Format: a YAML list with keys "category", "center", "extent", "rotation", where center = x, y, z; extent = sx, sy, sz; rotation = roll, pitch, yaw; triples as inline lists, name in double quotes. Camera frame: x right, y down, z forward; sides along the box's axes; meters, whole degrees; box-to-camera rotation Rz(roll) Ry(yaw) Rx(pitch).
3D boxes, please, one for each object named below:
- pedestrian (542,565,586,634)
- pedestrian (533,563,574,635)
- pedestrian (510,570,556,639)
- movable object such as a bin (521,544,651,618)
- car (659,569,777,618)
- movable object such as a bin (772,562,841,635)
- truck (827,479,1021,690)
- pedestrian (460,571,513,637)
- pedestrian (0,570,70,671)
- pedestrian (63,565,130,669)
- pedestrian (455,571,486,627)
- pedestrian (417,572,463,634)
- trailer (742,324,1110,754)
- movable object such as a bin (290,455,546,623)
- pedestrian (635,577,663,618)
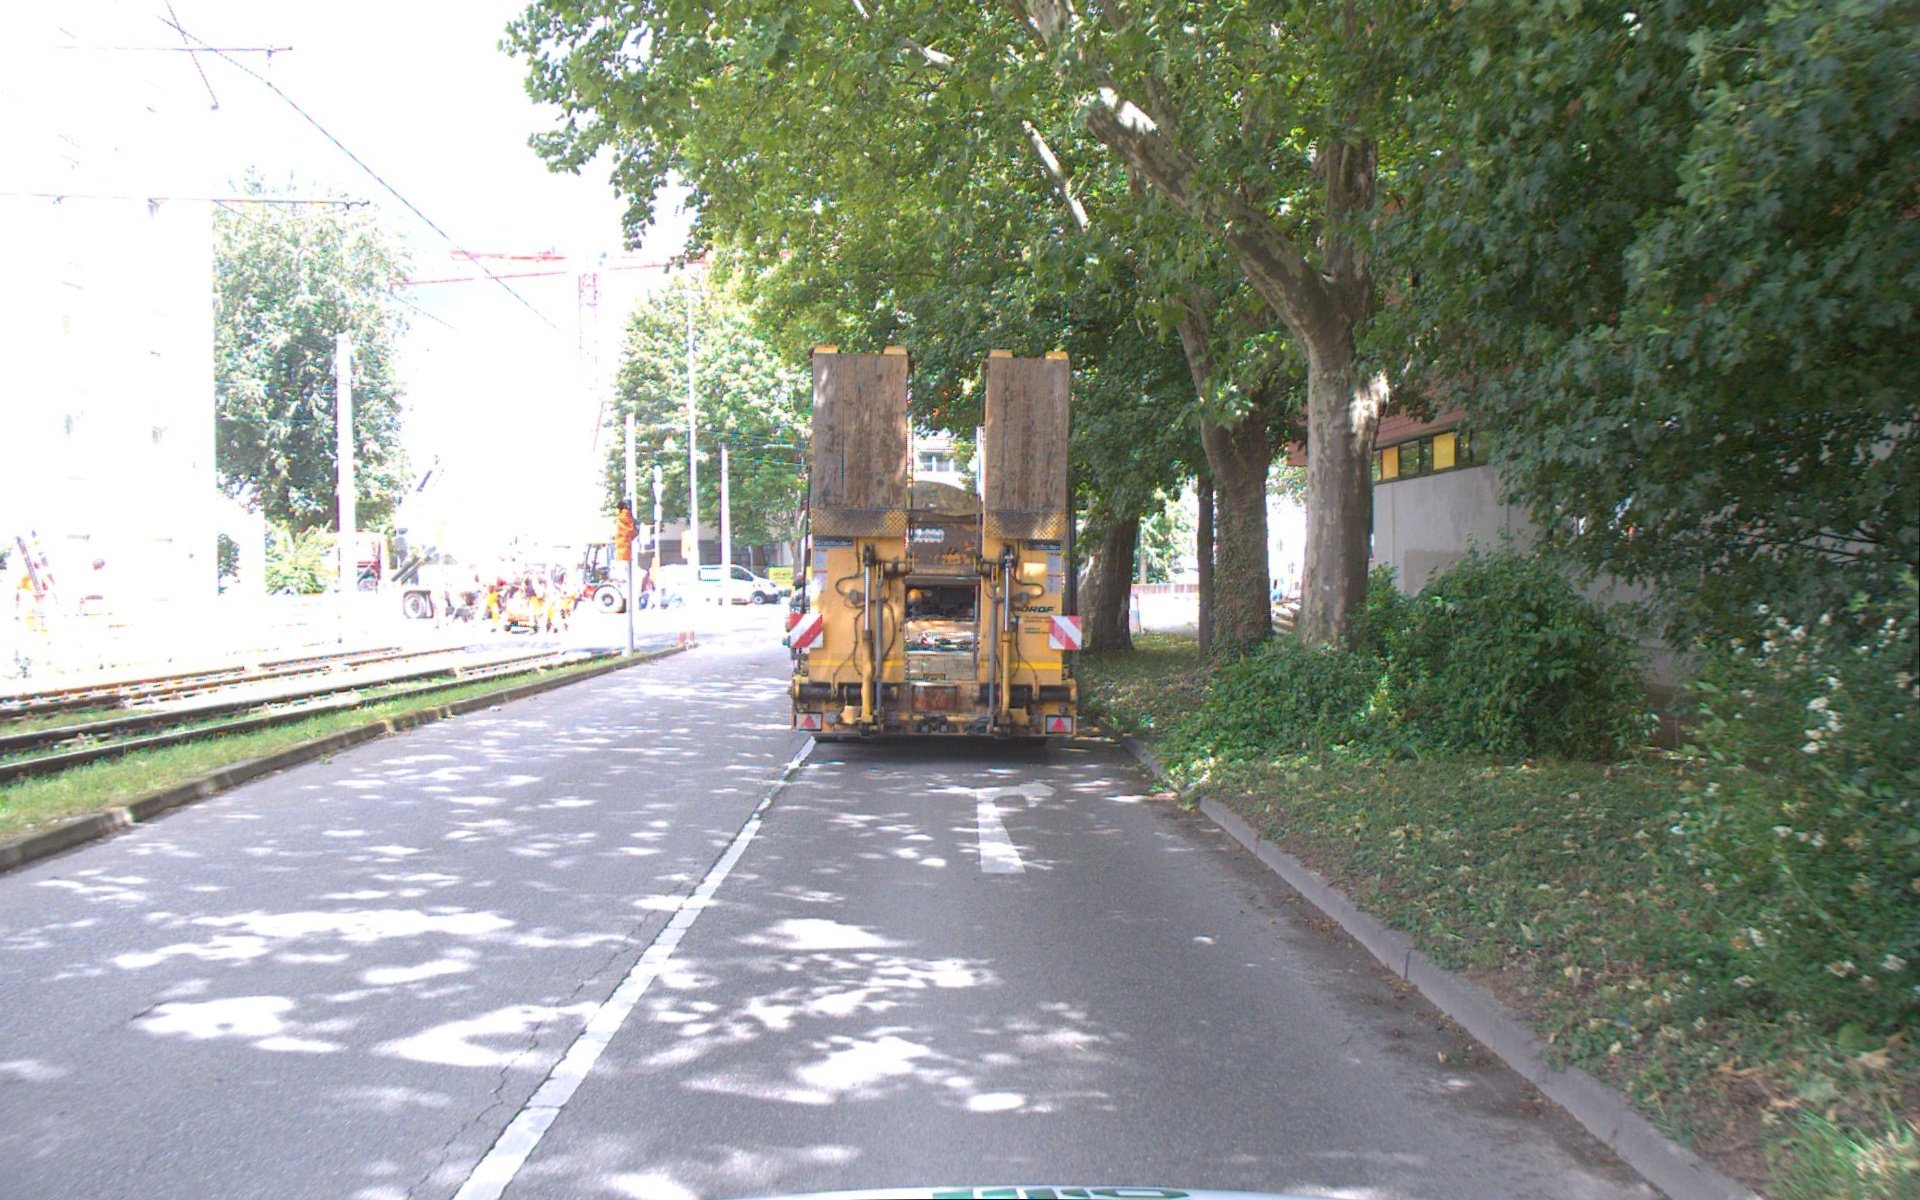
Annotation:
- category: "pedestrian"
  center: [-11.119, -0.010, 46.498]
  extent: [0.868, 1.900, 0.836]
  rotation: [0, -1, 27]
- category: "pedestrian"
  center: [-10.933, -0.020, 44.468]
  extent: [0.876, 1.900, 0.828]
  rotation: [1, -1, -31]
- category: "pedestrian"
  center: [-11.205, 0.116, 43.444]
  extent: [0.866, 1.791, 0.838]
  rotation: [0, 0, 13]
- category: "movable object such as a bin"
  center: [-13.918, -0.683, 61.560]
  extent: [4.279, 2.675, 2.219]
  rotation: [0, 0, 25]
- category: "car"
  center: [-10.832, -0.301, 74.039]
  extent: [5.007, 2.139, 1.968]
  rotation: [0, 0, -16]
- category: "movable object such as a bin"
  center: [-4.426, -0.033, 47.968]
  extent: [1.369, 2.049, 2.558]
  rotation: [0, 0, 9]
- category: "truck"
  center: [-0.639, -0.207, 28.986]
  extent: [2.929, 3.190, 7.885]
  rotation: [0, 0, -2]
- category: "pedestrian"
  center: [-12.751, 0.119, 44.545]
  extent: [0.873, 1.745, 1.103]
  rotation: [0, -1, 44]
- category: "pedestrian"
  center: [-15.462, 0.334, 27.635]
  extent: [0.717, 1.654, 0.866]
  rotation: [0, 0, -2]
- category: "pedestrian"
  center: [-14.652, 0.287, 28.079]
  extent: [0.685, 1.748, 0.866]
  rotation: [0, 0, -2]
- category: "pedestrian"
  center: [-14.819, -0.037, 50.090]
  extent: [0.870, 1.674, 0.896]
  rotation: [0, 0, -15]
- category: "pedestrian"
  center: [-14.180, 0.072, 45.086]
  extent: [0.819, 1.674, 0.886]
  rotation: [0, -1, 32]
- category: "trailer"
  center: [-0.425, -0.472, 19.504]
  extent: [3.090, 3.615, 11.092]
  rotation: [0, 0, -2]
- category: "movable object such as a bin"
  center: [-18.785, -1.986, 57.172]
  extent: [9.018, 5.509, 2.662]
  rotation: [0, 0, 25]
- category: "pedestrian"
  center: [-11.102, -0.096, 59.091]
  extent: [0.898, 1.434, 0.752]
  rotation: [0, 0, -4]
